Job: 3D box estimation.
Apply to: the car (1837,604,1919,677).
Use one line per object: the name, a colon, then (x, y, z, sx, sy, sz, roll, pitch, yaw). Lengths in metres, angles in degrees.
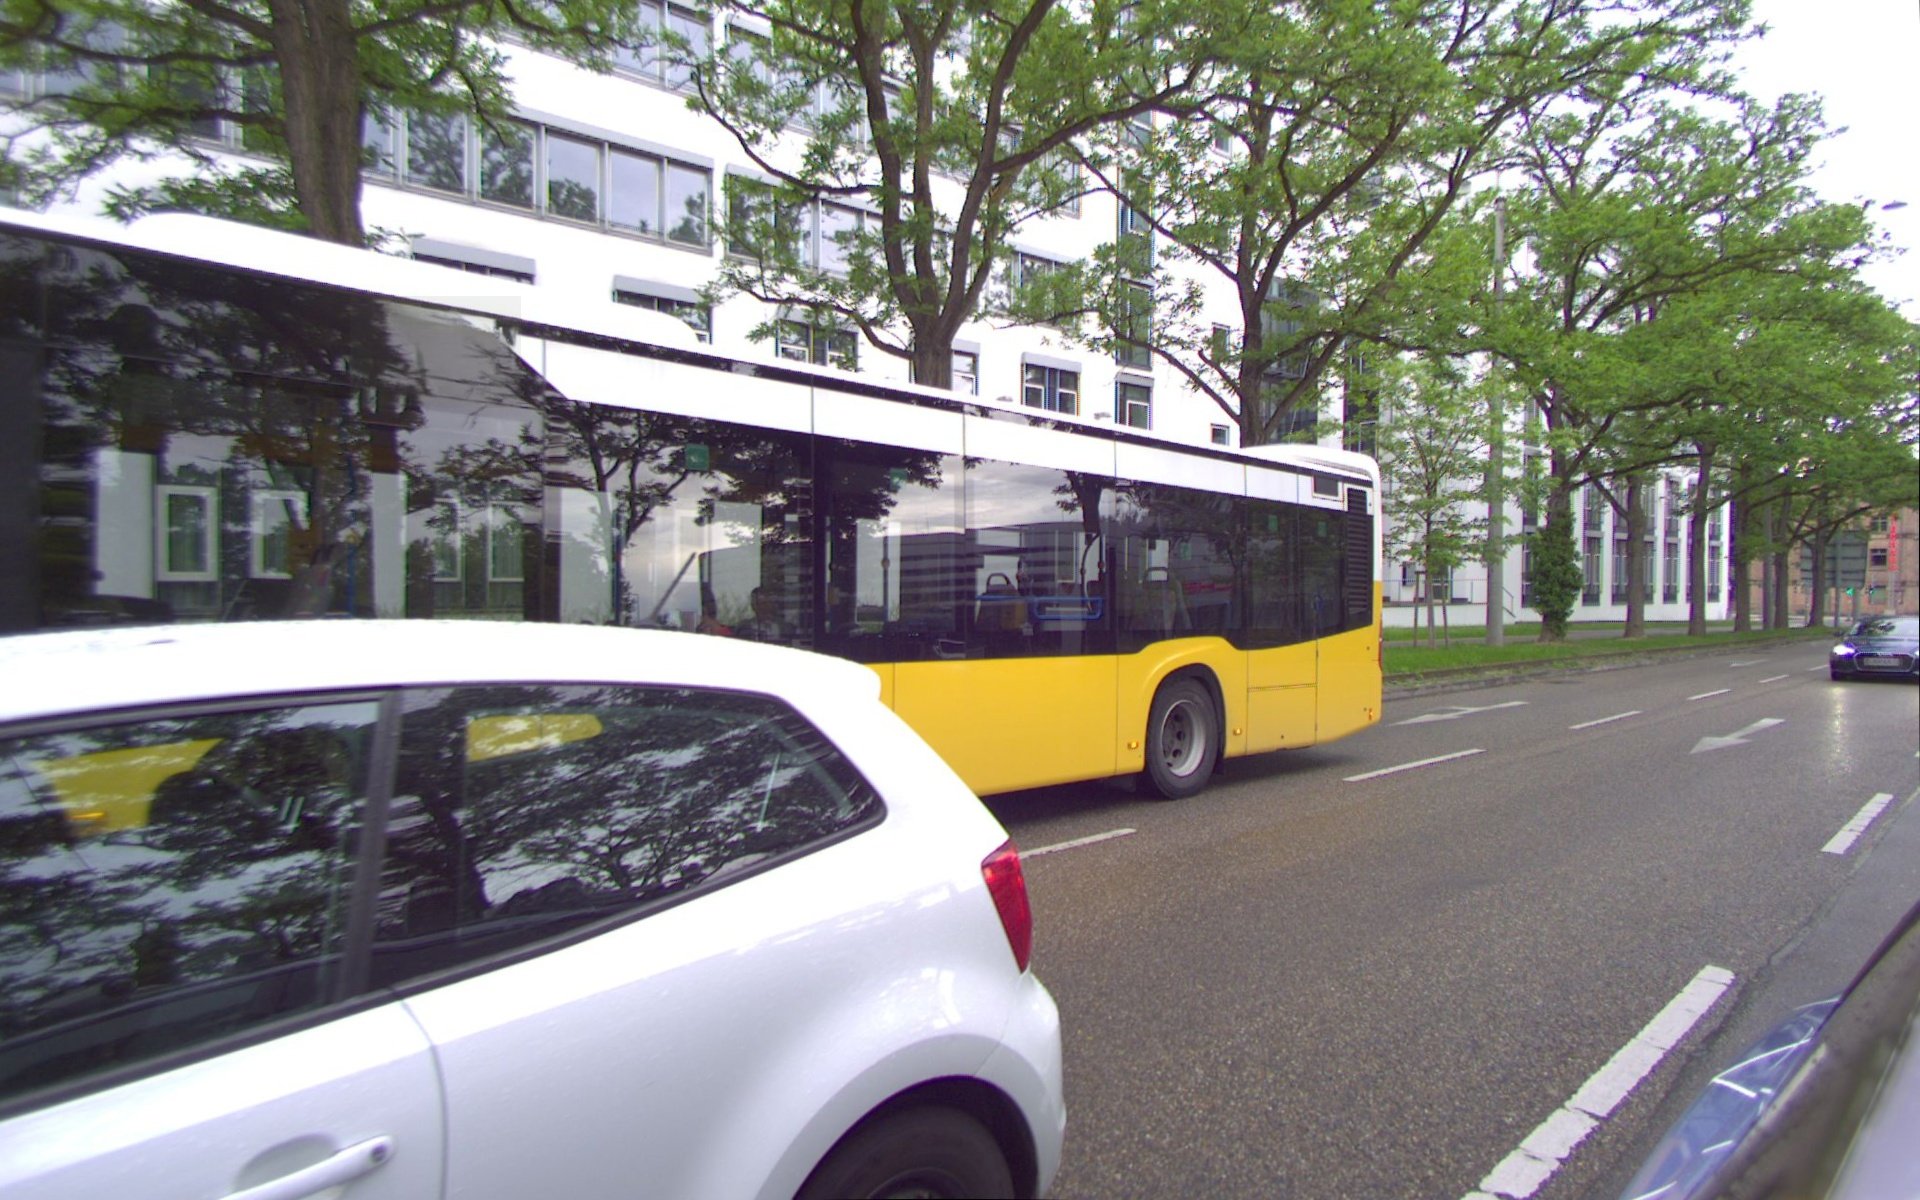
car: (20.380, 0.805, 21.636, 4.257, 1.371, 1.876, -1, 0, -41)

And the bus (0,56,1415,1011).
bus: (-0.851, -0.192, 7.243, 11.932, 3.192, 2.731, 0, -1, -41)

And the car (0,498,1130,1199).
car: (-1.634, 0.640, 1.517, 3.745, 1.450, 1.743, -1, 0, -41)
